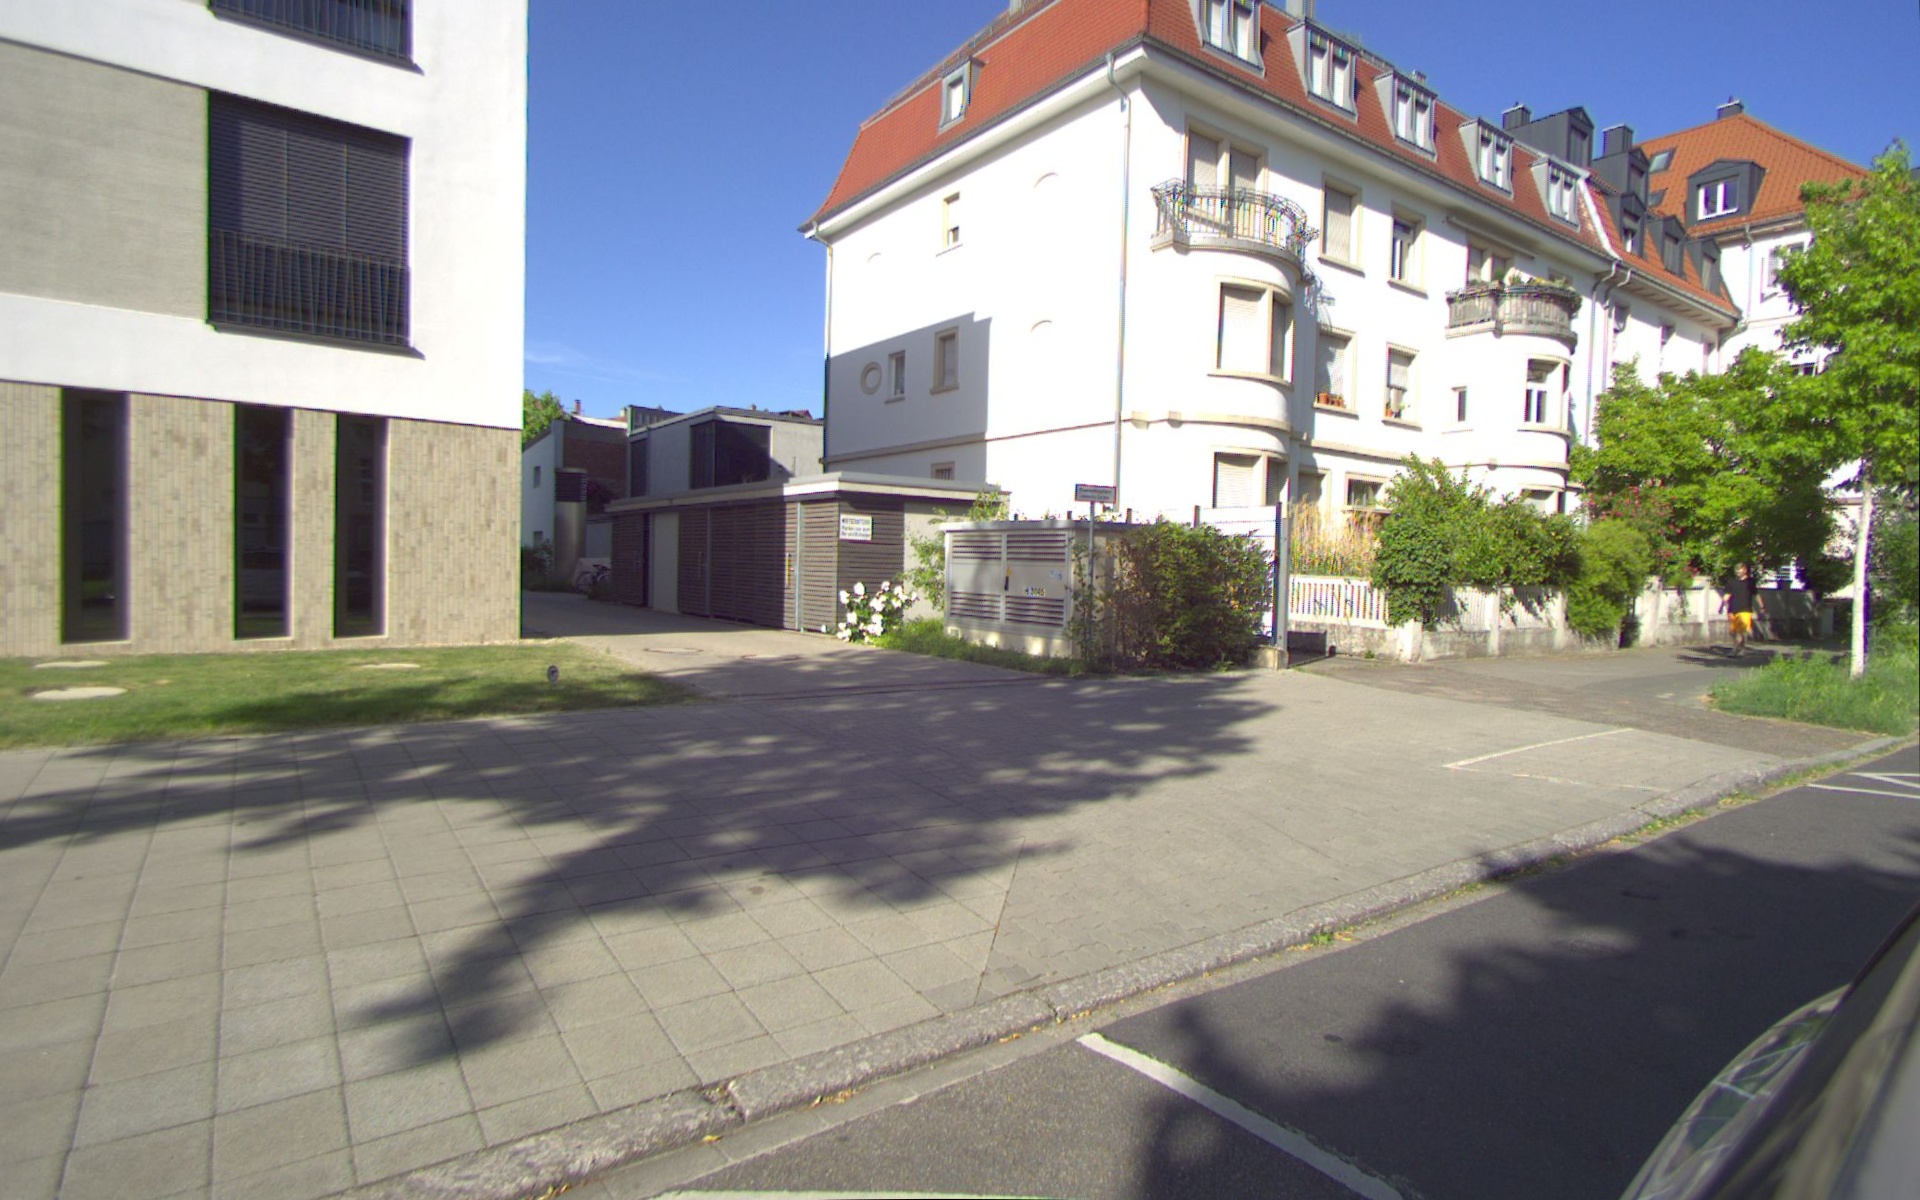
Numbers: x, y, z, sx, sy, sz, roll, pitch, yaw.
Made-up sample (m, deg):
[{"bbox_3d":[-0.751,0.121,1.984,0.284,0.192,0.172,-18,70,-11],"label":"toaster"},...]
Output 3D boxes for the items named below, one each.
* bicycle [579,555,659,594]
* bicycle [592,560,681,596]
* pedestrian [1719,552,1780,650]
[{"bbox_3d":[-10.410,-0.779,31.003,2.263,1.138,0.662,1,2,-15],"label":"bicycle"},{"bbox_3d":[-8.993,-0.602,28.168,2.267,0.936,0.661,0,3,-33],"label":"bicycle"},{"bbox_3d":[14.877,0.011,19.075,0.784,1.796,0.624,0,3,-36],"label":"pedestrian"}]
